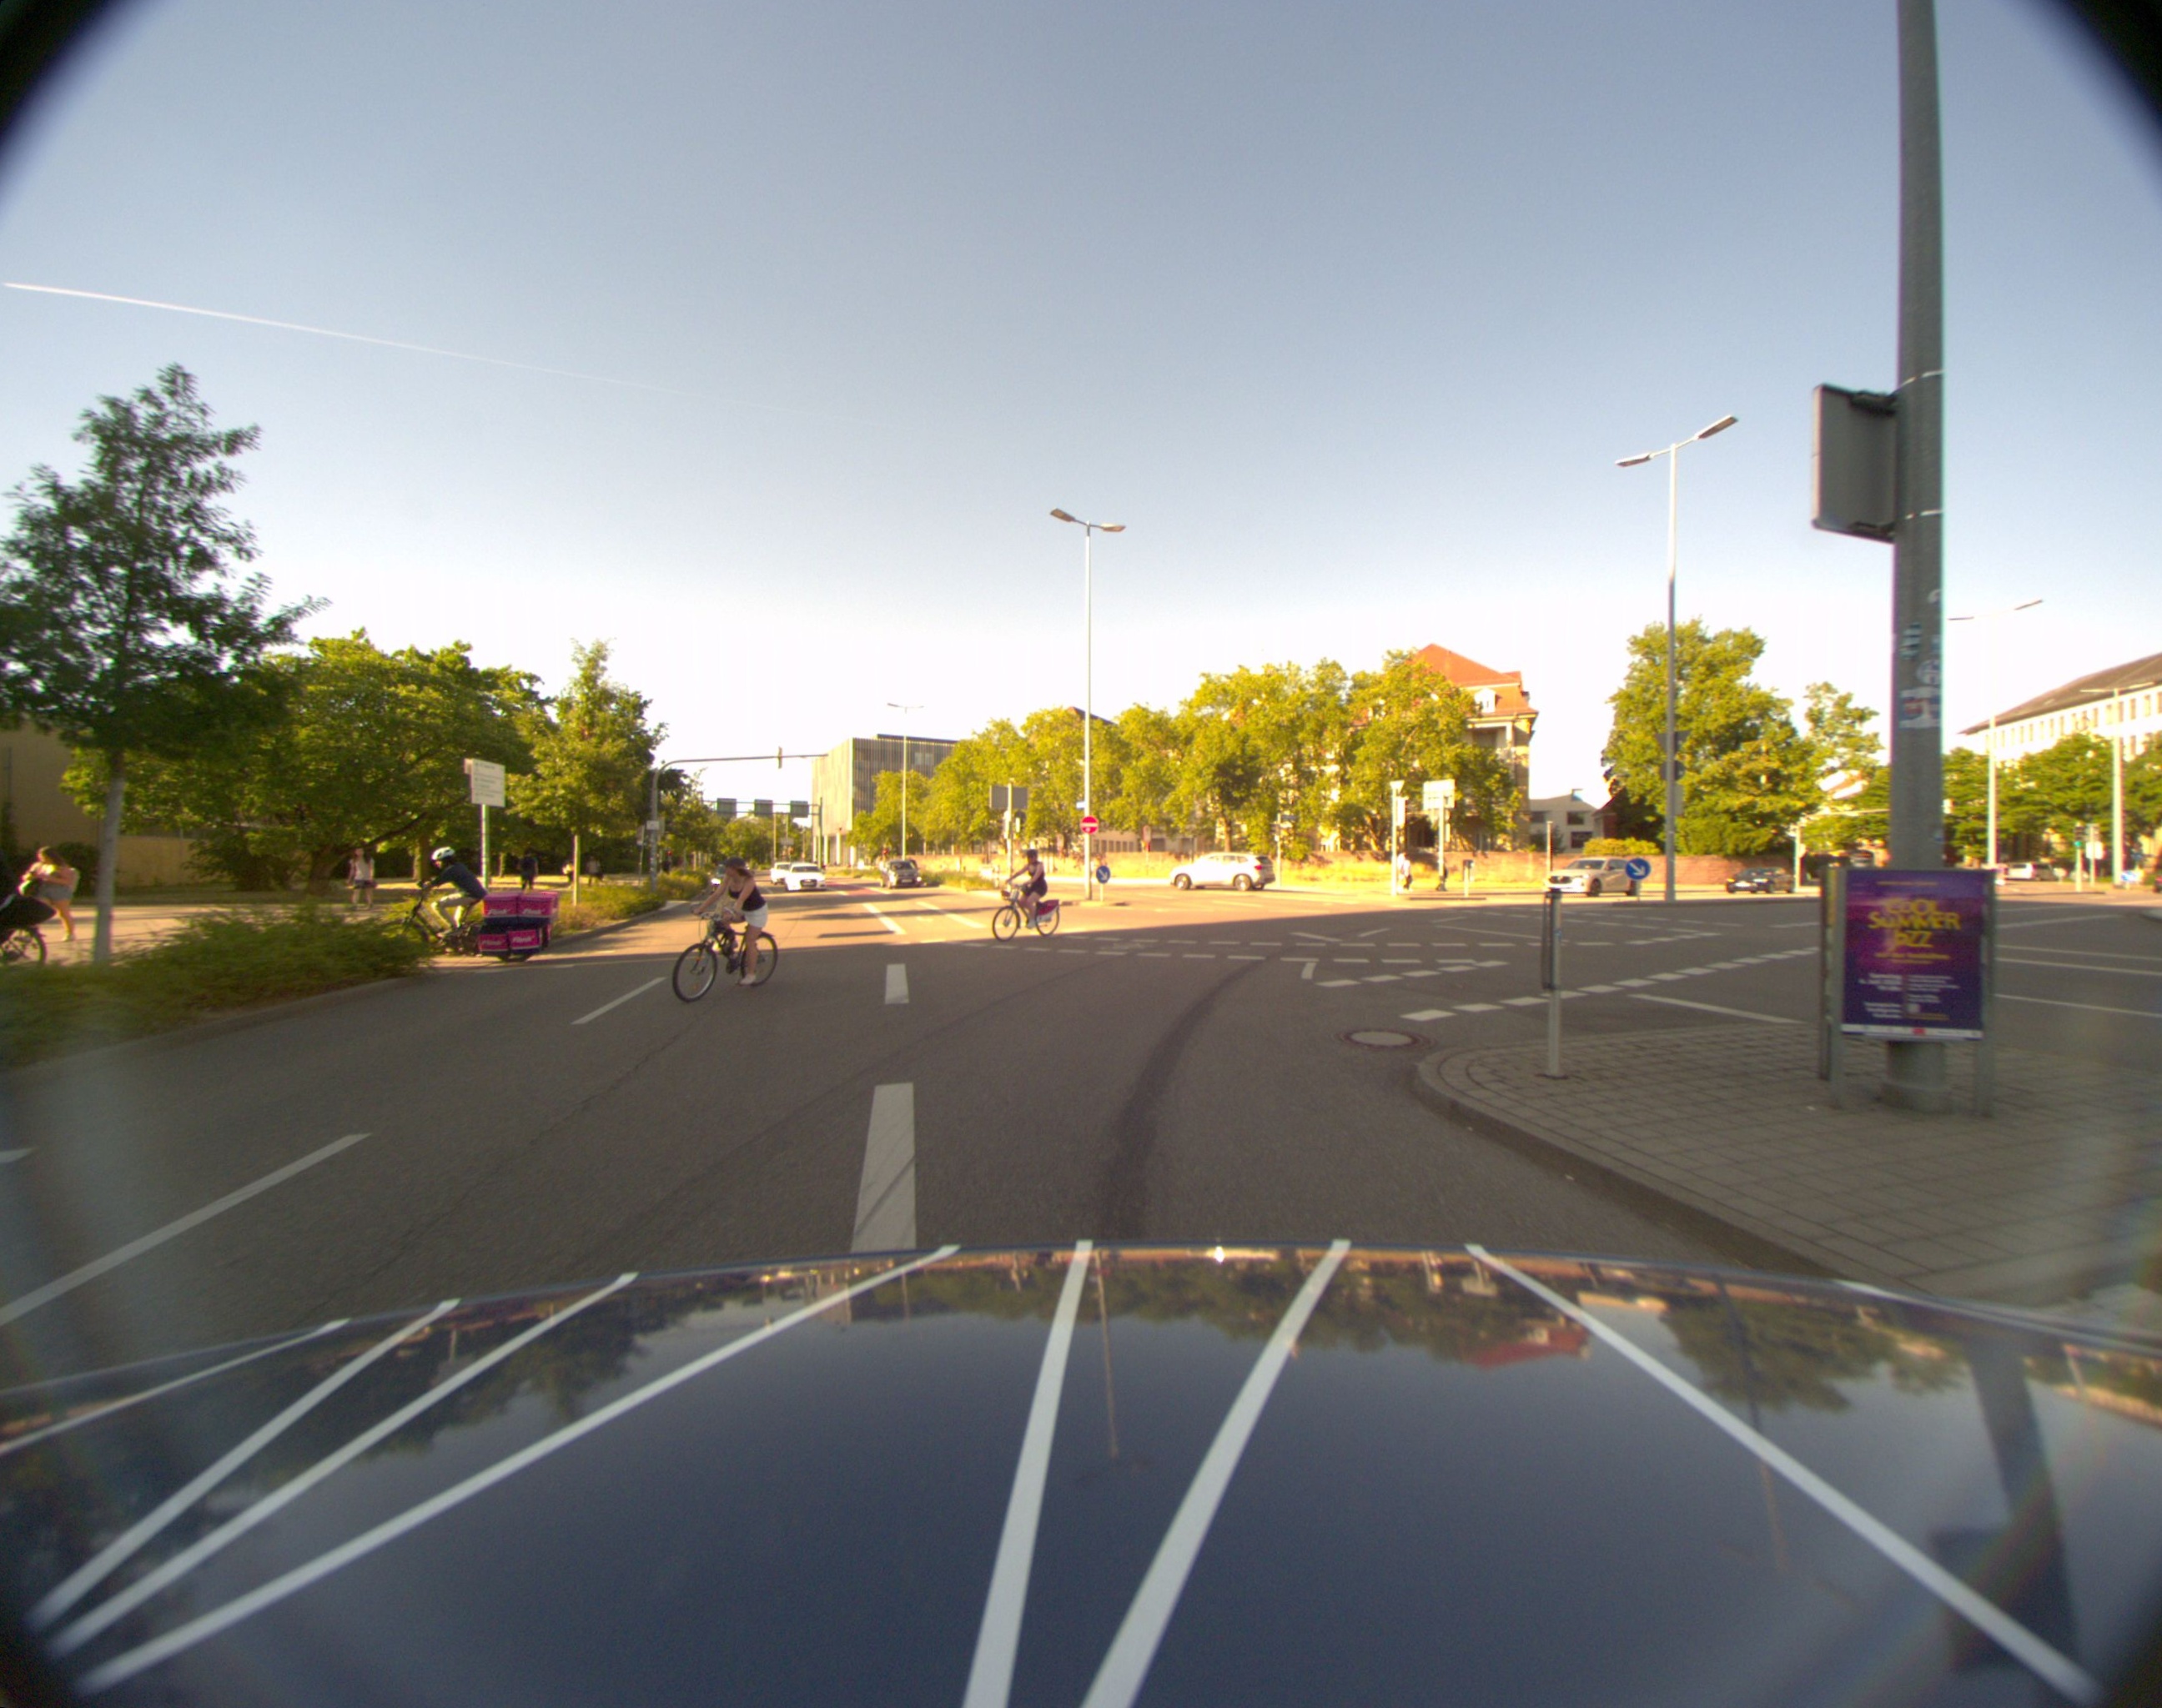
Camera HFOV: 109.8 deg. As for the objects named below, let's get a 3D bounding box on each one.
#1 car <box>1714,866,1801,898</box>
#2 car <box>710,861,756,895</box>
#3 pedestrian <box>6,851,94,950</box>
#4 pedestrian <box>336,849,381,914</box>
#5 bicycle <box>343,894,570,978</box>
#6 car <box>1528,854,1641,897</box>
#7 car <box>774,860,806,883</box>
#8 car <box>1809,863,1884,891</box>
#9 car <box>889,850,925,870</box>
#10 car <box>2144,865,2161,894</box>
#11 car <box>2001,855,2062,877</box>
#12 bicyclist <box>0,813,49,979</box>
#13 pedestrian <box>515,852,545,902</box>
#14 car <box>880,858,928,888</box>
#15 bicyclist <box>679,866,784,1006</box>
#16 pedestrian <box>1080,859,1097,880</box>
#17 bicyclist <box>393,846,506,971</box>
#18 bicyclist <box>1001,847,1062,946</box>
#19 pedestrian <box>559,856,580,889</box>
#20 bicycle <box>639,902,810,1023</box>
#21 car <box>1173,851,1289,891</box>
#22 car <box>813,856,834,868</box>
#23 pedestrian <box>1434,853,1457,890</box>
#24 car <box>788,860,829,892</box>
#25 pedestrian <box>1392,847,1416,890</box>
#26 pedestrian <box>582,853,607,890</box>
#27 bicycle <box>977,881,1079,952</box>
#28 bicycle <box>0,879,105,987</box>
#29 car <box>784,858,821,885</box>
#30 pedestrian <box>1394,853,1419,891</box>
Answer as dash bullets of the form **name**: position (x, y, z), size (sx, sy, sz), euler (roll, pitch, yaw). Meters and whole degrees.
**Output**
- **car**: position (35.803, 1.459, 40.189), size (4.614, 1.576, 2.190), euler (0, -2, -32)
- **car**: position (-16.573, 1.093, 36.325), size (1.805, 1.510, 3.992), euler (0, 0, -22)
- **pedestrian**: position (-16.831, 0.730, 12.423), size (0.623, 1.565, 0.638), euler (0, 0, -25)
- **pedestrian**: position (-19.365, 0.716, 20.376), size (0.677, 1.694, 0.875), euler (0, 0, -31)
- **bicycle**: position (-9.464, 1.218, 11.650), size (2.582, 1.149, 0.779), euler (0, 0, -16)
- **car**: position (21.300, 0.894, 32.109), size (4.614, 1.673, 2.190), euler (0, -2, -32)
- **car**: position (-19.728, 1.145, 51.480), size (1.927, 1.510, 4.010), euler (0, 0, -22)
- **car**: position (46.524, 1.392, 46.178), size (4.614, 1.576, 2.190), euler (0, -2, -32)
- **car**: position (-15.202, 0.532, 66.135), size (2.003, 1.674, 4.619), euler (0, 0, -27)
- **car**: position (60.480, 1.411, 41.803), size (3.984, 1.436, 1.803), euler (-2, 0, -28)
- **car**: position (101.751, 1.251, 81.355), size (4.150, 2.002, 1.999), euler (-4, 0, -4)
- **bicyclist**: position (-12.224, 0.456, 8.191), size (0.781, 1.820, 1.091), euler (0, 0, -16)
- **pedestrian**: position (-19.120, 0.782, 26.379), size (0.713, 1.703, 0.732), euler (0, 0, -25)
- **car**: position (-9.453, 0.952, 40.379), size (1.927, 1.510, 4.010), euler (0, 0, -22)
- **bicyclist**: position (-4.043, 0.917, 8.835), size (0.716, 1.539, 0.851), euler (-1, -1, 15)
- **pedestrian**: position (0.576, 1.118, 56.206), size (0.975, 1.527, 0.921), euler (0, 0, -25)
- **bicyclist**: position (-9.608, 0.796, 11.610), size (1.094, 1.823, 0.779), euler (0, 0, -16)
- **bicyclist**: position (-0.924, 0.773, 14.272), size (0.715, 1.777, 0.851), euler (-1, 1, 36)
- **pedestrian**: position (-24.533, 0.876, 36.453), size (0.764, 1.534, 0.845), euler (1, 0, -31)
- **bicycle**: position (-4.045, 1.186, 8.814), size (0.718, 1.115, 1.871), euler (-2, 1, 15)
- **car**: position (6.385, 0.664, 32.358), size (4.350, 1.611, 2.161), euler (0, 0, 29)
- **car**: position (-34.956, 1.131, 103.079), size (2.003, 1.586, 3.991), euler (0, 0, -27)
- **pedestrian**: position (16.861, 0.796, 35.156), size (0.791, 1.644, 0.713), euler (2, 4, 16)
- **car**: position (-13.959, 1.062, 38.826), size (1.805, 1.510, 4.423), euler (0, 0, -22)
- **pedestrian**: position (14.772, 0.655, 34.776), size (0.871, 1.884, 0.713), euler (2, 4, 15)
- **pedestrian**: position (-23.779, 0.847, 37.157), size (1.020, 1.739, 0.847), euler (1, 0, -31)
- **bicycle**: position (-0.944, 1.121, 14.239), size (0.717, 1.115, 2.070), euler (-1, 1, 36)
- **bicycle**: position (-12.231, 0.887, 8.255), size (0.781, 1.149, 2.288), euler (0, 0, -16)
- **car**: position (-16.720, 1.025, 45.505), size (1.927, 1.510, 4.010), euler (0, 0, -22)
- **pedestrian**: position (14.586, 0.792, 34.069), size (0.871, 1.665, 0.713), euler (2, 4, 15)
